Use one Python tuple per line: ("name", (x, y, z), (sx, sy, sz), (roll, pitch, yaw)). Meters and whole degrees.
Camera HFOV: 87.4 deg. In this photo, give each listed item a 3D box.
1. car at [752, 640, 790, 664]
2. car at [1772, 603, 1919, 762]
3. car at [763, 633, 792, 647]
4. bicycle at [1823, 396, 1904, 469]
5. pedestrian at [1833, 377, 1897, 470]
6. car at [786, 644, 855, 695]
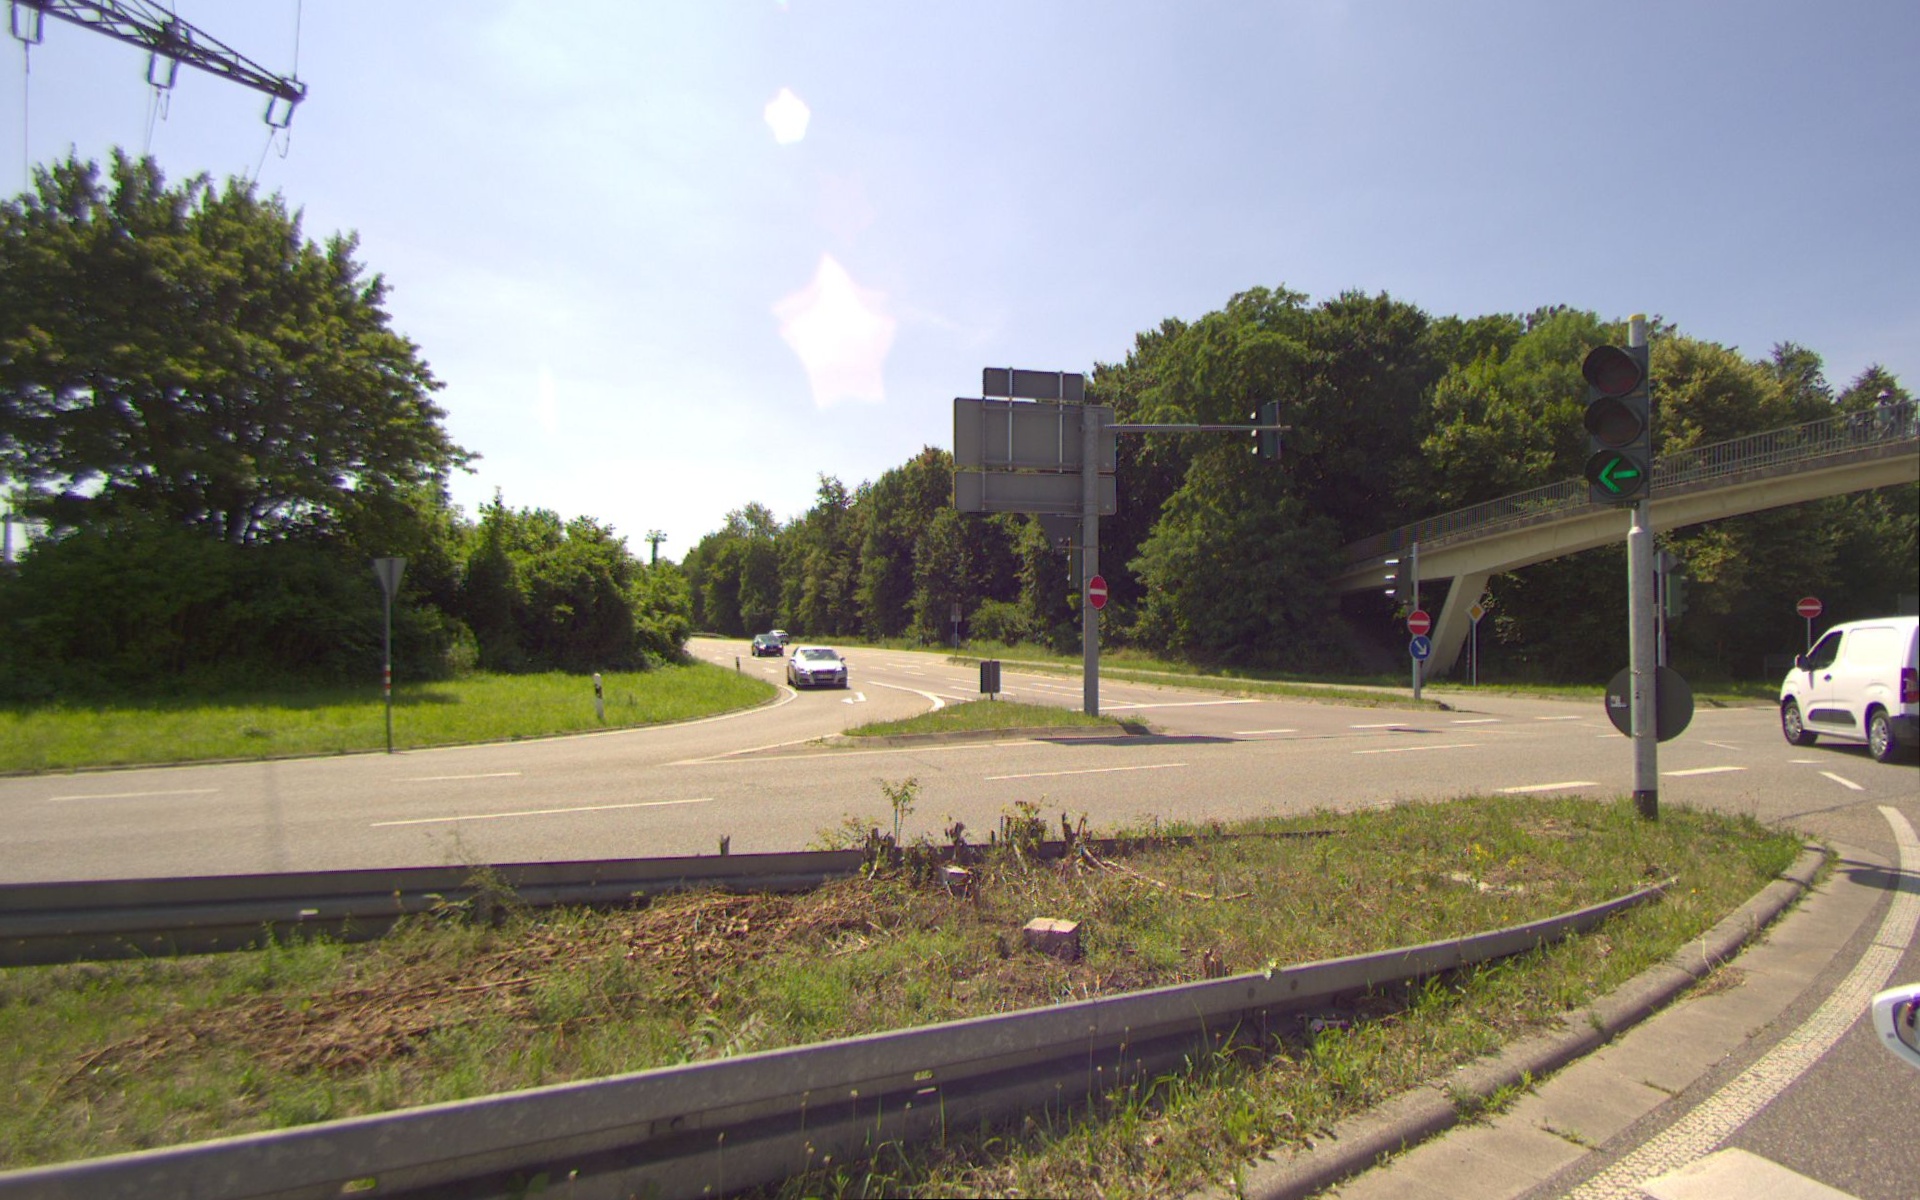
("car", (-13.041, 3.557, 69.314), (1.716, 1.552, 4.145), (-2, -1, -23))
("car", (12.520, 1.085, 13.255), (1.820, 1.849, 3.980), (0, -3, 24))
("car", (-18.713, 4.060, 102.758), (1.972, 1.391, 4.756), (1, -2, -23))
("bicycle", (23.009, -4.248, 25.610), (0.461, 1.493, 1.528), (2, -4, -13))
("pedestrian", (23.220, -4.519, 25.787), (0.915, 2.167, 0.783), (2, -4, -13))
("car", (-5.113, 2.443, 36.288), (2.013, 1.596, 4.654), (-2, -1, -13))
